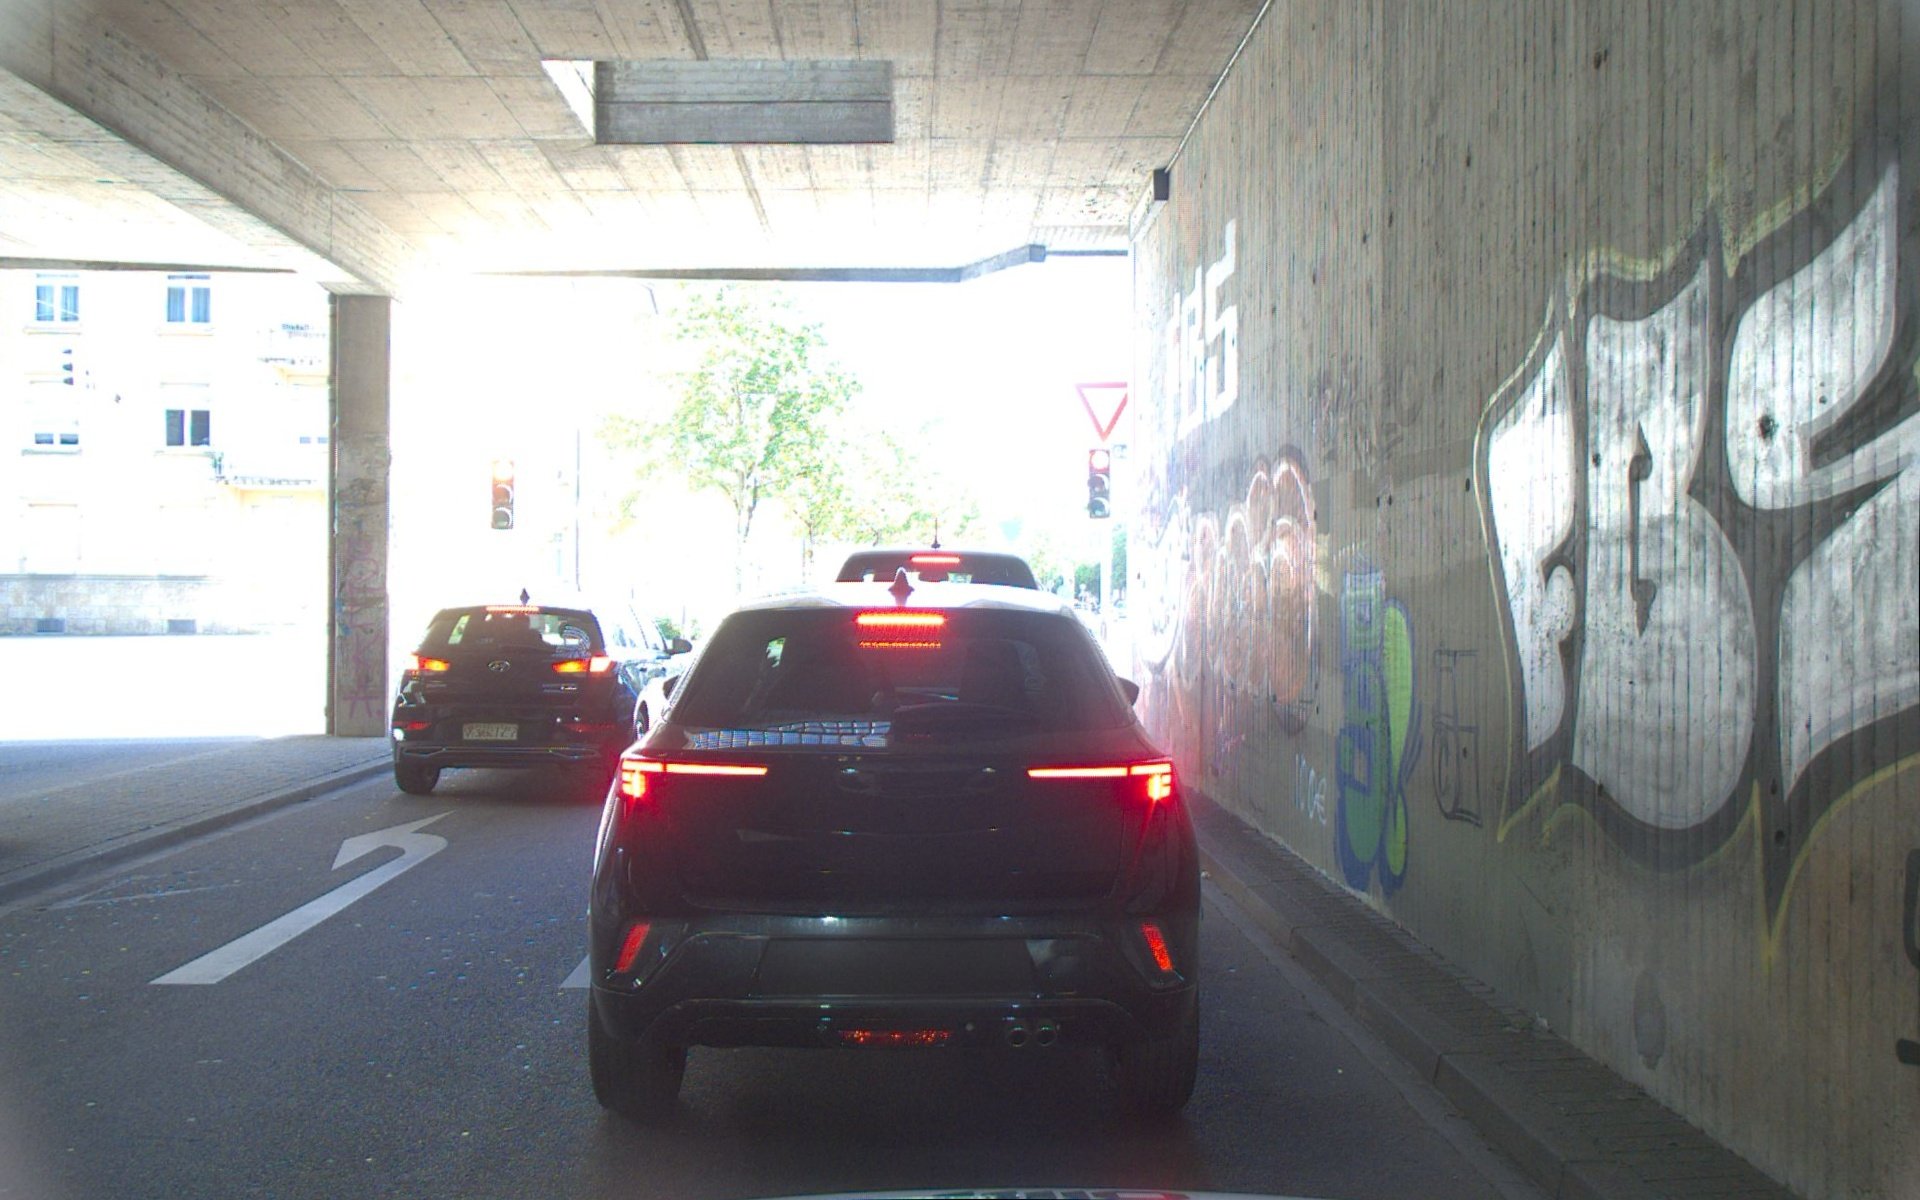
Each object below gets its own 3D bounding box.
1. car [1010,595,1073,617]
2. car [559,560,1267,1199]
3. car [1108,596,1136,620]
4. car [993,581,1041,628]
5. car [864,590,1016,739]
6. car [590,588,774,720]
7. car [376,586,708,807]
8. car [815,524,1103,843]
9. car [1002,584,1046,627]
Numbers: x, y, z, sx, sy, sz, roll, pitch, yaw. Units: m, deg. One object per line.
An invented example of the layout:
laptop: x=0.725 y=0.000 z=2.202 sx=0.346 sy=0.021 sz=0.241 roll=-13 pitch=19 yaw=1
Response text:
car: x=6.600 y=0.507 z=133.876 sx=4.732 sy=1.696 sz=1.812 roll=1 pitch=0 yaw=-22
car: x=-0.140 y=0.682 z=6.096 sx=1.726 sy=1.558 sz=4.088 roll=0 pitch=0 yaw=-1
car: x=12.114 y=0.607 z=123.495 sx=1.716 sy=1.696 sz=3.948 roll=1 pitch=0 yaw=10
car: x=2.182 y=0.177 z=62.235 sx=1.717 sy=1.696 sz=3.946 roll=1 pitch=0 yaw=3
car: x=-0.239 y=0.666 z=19.255 sx=1.576 sy=1.539 sz=4.053 roll=0 pitch=0 yaw=-1
car: x=-3.420 y=0.615 z=20.960 sx=1.726 sy=1.506 sz=3.843 roll=0 pitch=0 yaw=-1
car: x=-3.150 y=0.654 z=13.239 sx=1.726 sy=1.506 sz=3.843 roll=0 pitch=0 yaw=-1
car: x=-0.034 y=0.500 z=12.041 sx=1.726 sy=1.915 sz=4.145 roll=0 pitch=0 yaw=-1
car: x=2.672 y=0.211 z=68.361 sx=1.717 sy=1.696 sz=3.946 roll=1 pitch=0 yaw=3
